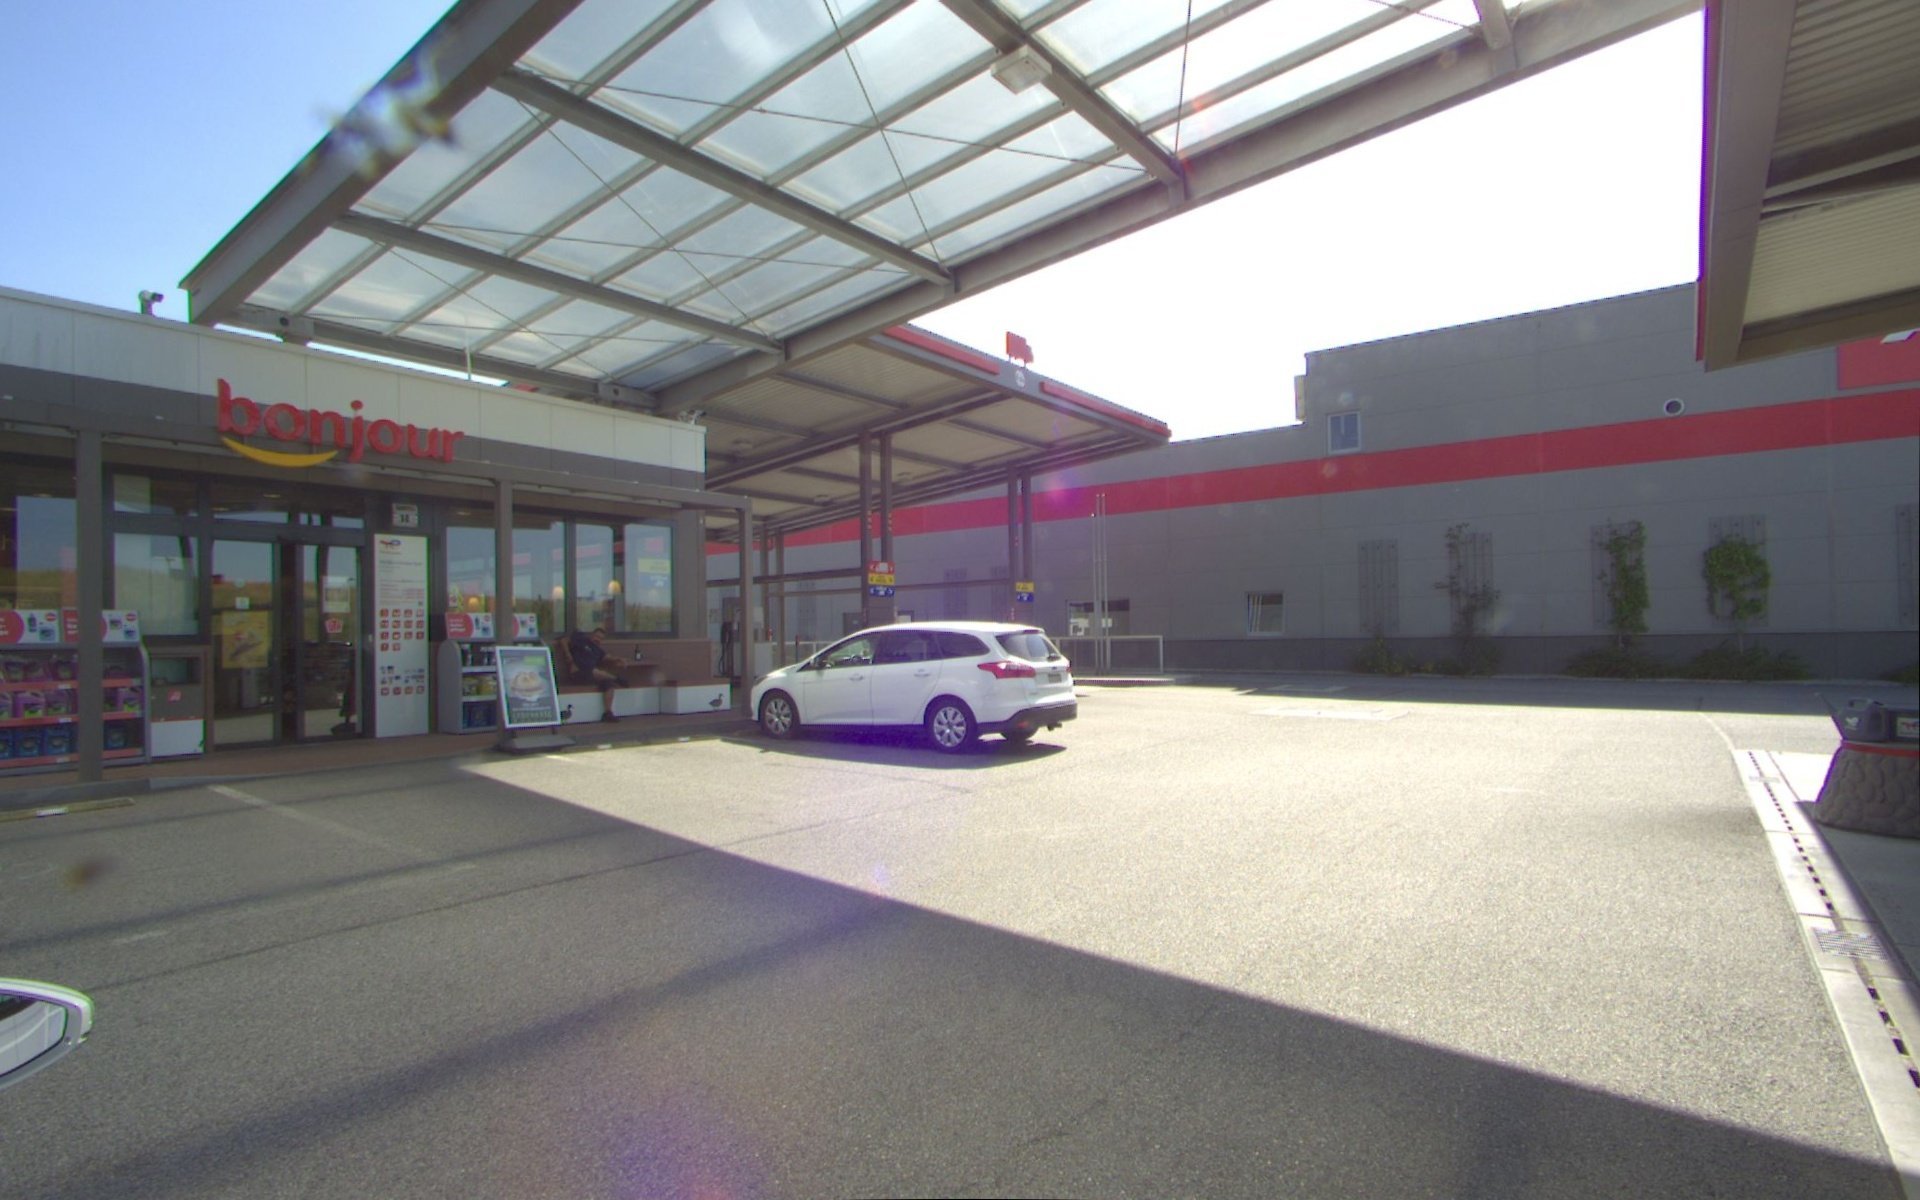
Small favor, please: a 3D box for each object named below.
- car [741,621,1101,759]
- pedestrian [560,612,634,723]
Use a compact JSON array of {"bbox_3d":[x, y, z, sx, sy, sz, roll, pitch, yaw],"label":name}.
[{"bbox_3d":[-0.552,1.017,12.640,4.258,1.475,1.827,-1,-1,31],"label":"car"},{"bbox_3d":[-4.925,0.898,13.593,0.664,1.450,0.699,-1,-1,36],"label":"pedestrian"}]
